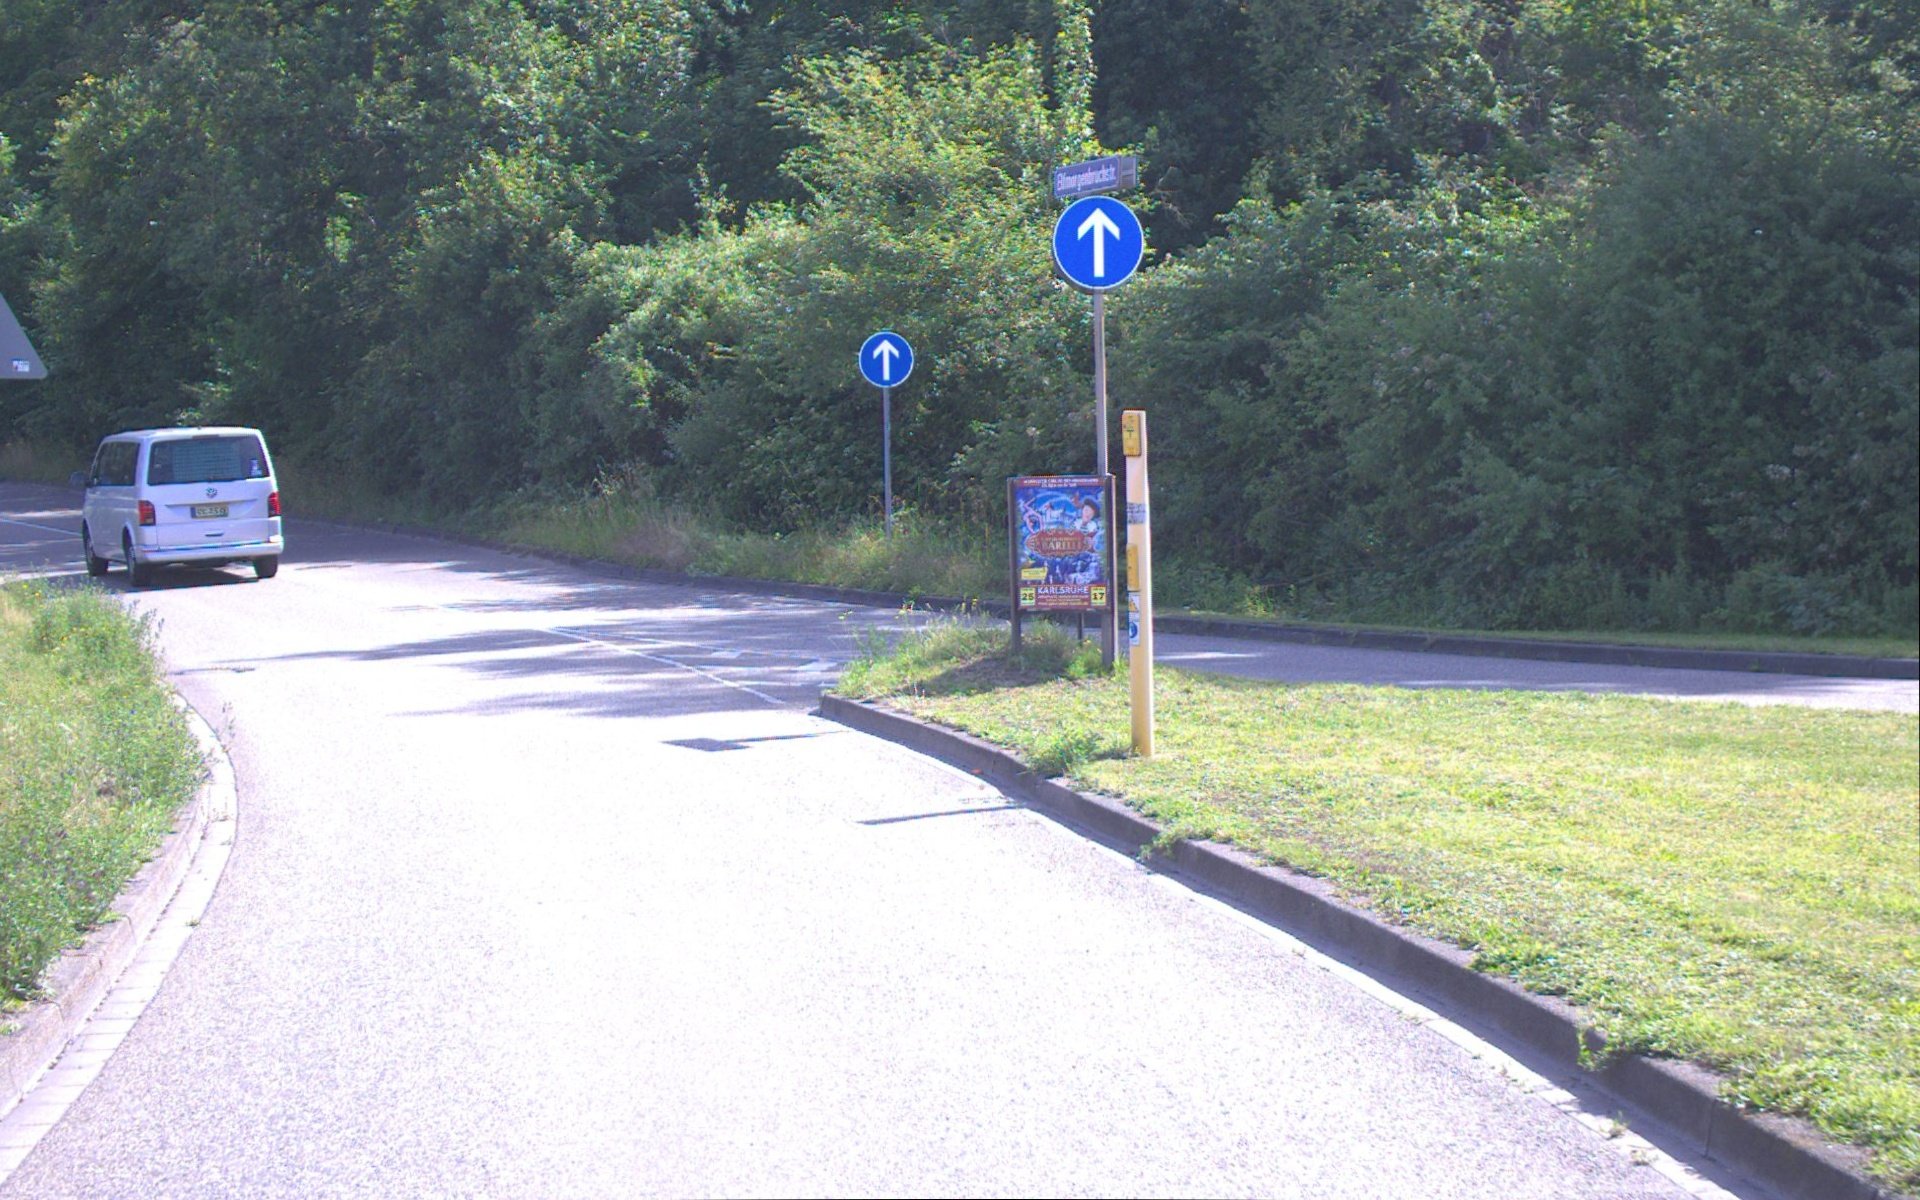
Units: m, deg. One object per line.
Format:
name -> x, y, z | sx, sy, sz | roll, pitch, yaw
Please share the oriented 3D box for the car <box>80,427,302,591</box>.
car -> -10.043, -1.201, 44.710 | 2.039, 2.006, 4.001 | -2, 2, -24
